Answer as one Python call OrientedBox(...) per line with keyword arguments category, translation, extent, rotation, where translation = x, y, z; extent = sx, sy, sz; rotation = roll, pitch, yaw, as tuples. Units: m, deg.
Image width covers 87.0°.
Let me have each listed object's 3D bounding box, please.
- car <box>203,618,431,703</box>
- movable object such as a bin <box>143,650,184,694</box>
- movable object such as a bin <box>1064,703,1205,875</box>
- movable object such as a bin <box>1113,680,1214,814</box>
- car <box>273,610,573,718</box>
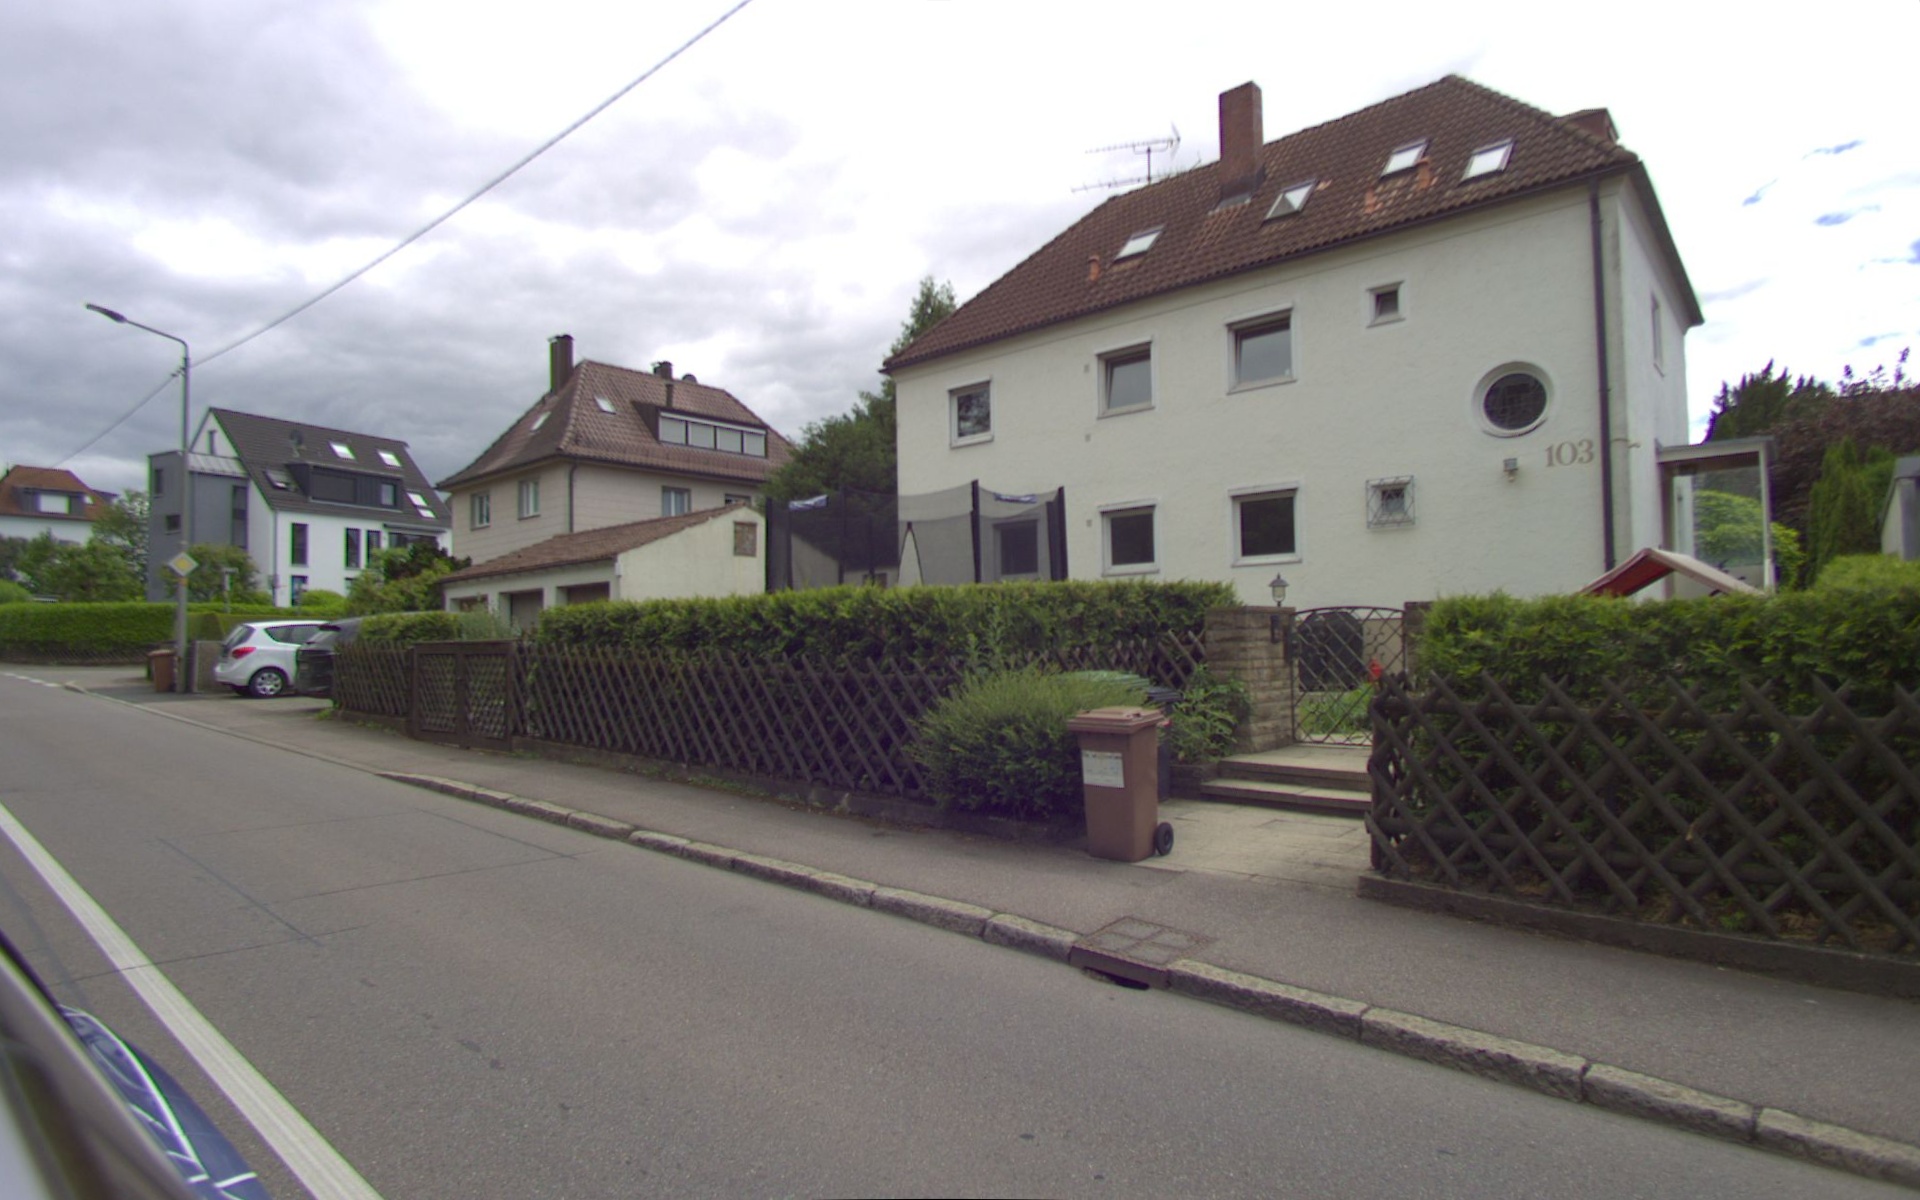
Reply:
OrientedBox(category="car", translation=(-14.187, 1.256, 22.476), extent=(1.718, 1.606, 3.945), rotation=(-2, 0, 41))
OrientedBox(category="movable object such as a bin", translation=(-17.937, 1.616, 22.801), extent=(0.678, 0.961, 0.573), rotation=(1, -3, -34))
OrientedBox(category="movable object such as a bin", translation=(1.068, 1.125, 6.227), extent=(0.624, 0.920, 0.561), rotation=(0, -2, -36))
OrientedBox(category="movable object such as a bin", translation=(1.592, 1.121, 7.922), extent=(0.512, 0.960, 0.626), rotation=(-2, -3, 44))
OrientedBox(category="car", translation=(-9.947, 1.093, 19.075), extent=(1.881, 1.682, 4.623), rotation=(-2, 0, 40))
